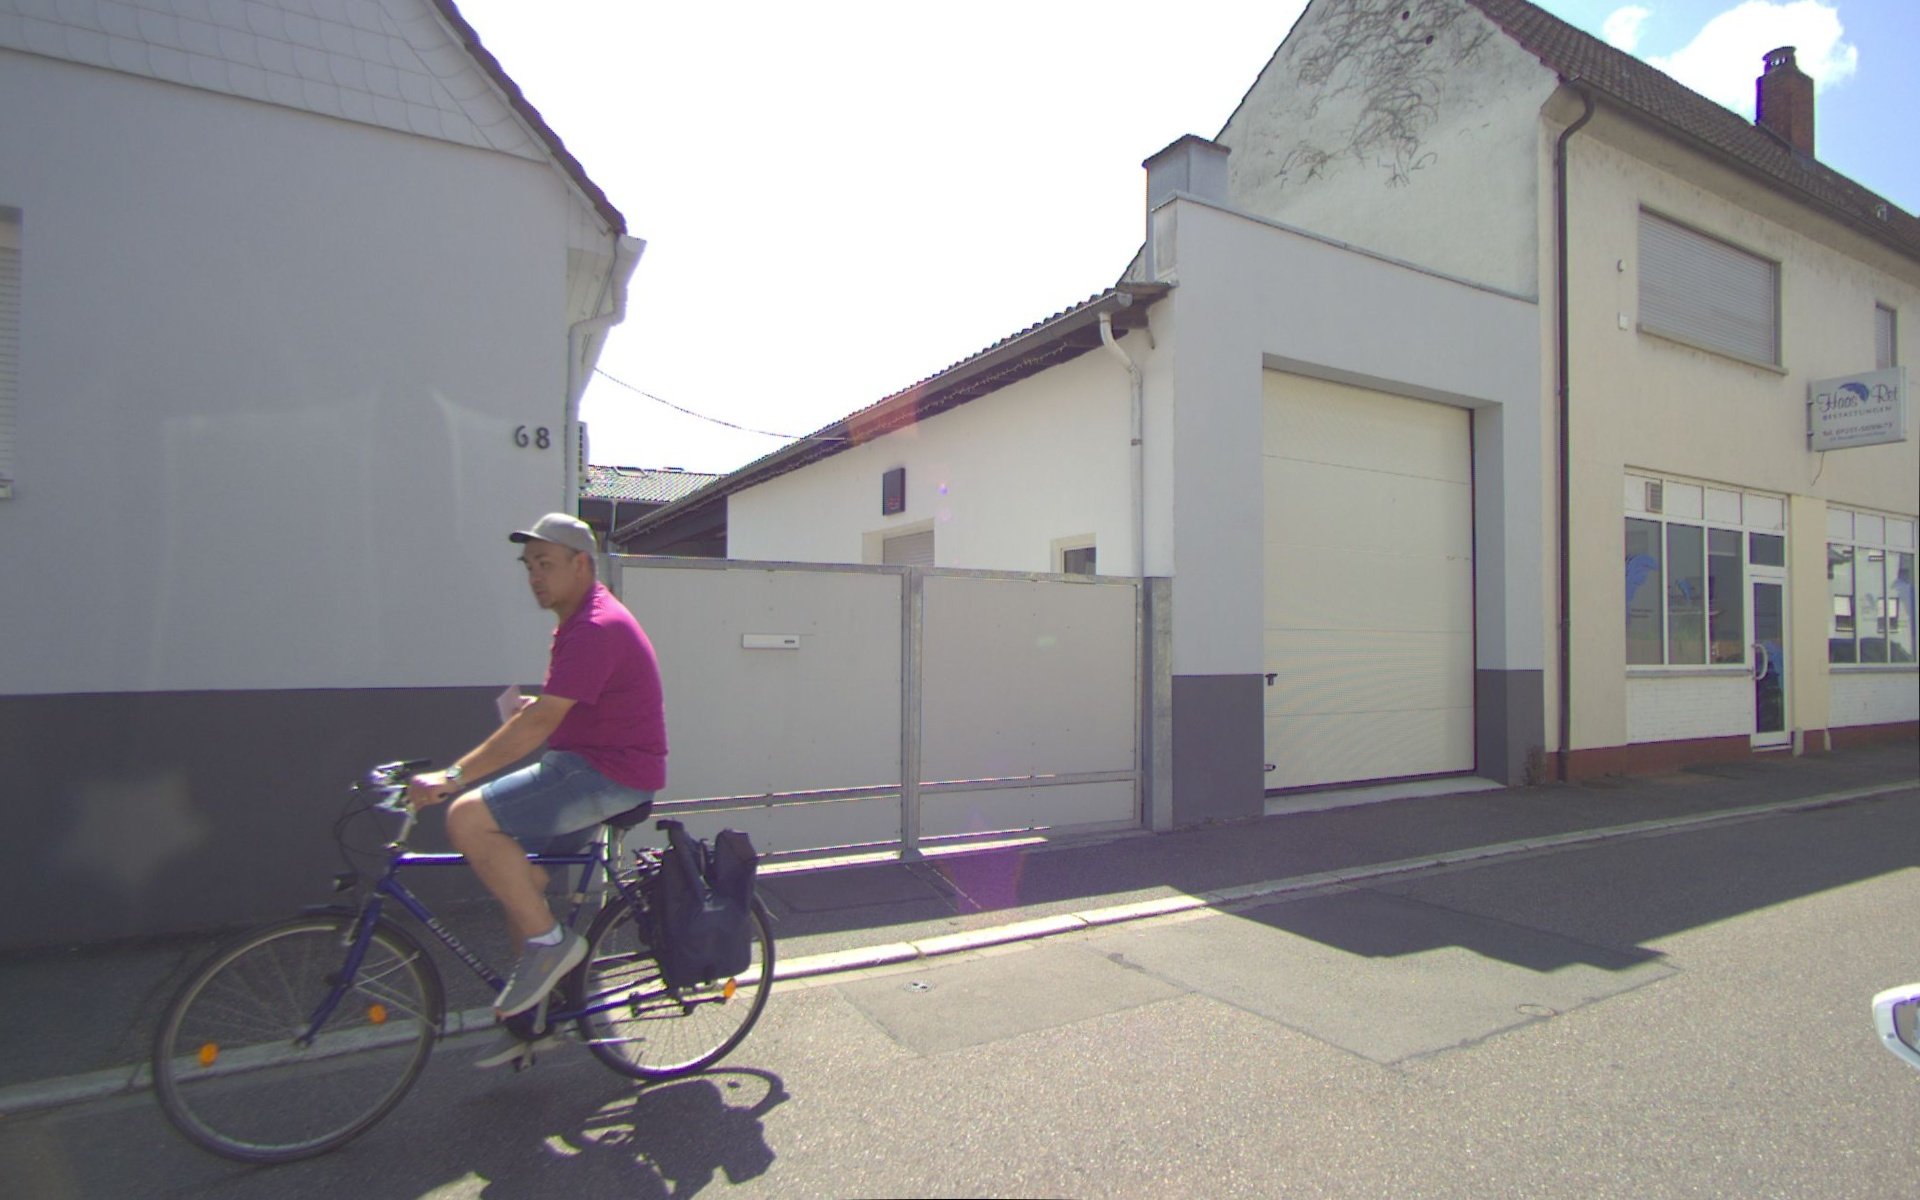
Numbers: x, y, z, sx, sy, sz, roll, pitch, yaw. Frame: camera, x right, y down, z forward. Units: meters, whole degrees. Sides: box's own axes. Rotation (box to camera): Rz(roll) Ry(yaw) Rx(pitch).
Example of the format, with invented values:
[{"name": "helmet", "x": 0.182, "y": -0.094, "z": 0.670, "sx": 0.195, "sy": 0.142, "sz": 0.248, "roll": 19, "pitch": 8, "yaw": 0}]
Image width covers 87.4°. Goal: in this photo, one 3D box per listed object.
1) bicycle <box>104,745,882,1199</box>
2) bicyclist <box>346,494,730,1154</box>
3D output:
[{"name": "bicycle", "x": -1.265, "y": 1.057, "z": 3.077, "sx": 1.914, "sy": 1.061, "sz": 0.740, "roll": 1, "pitch": -2, "yaw": -26}, {"name": "bicyclist", "x": -1.270, "y": 0.578, "z": 3.084, "sx": 0.944, "sy": 1.658, "sz": 0.744, "roll": 1, "pitch": -2, "yaw": -26}]
